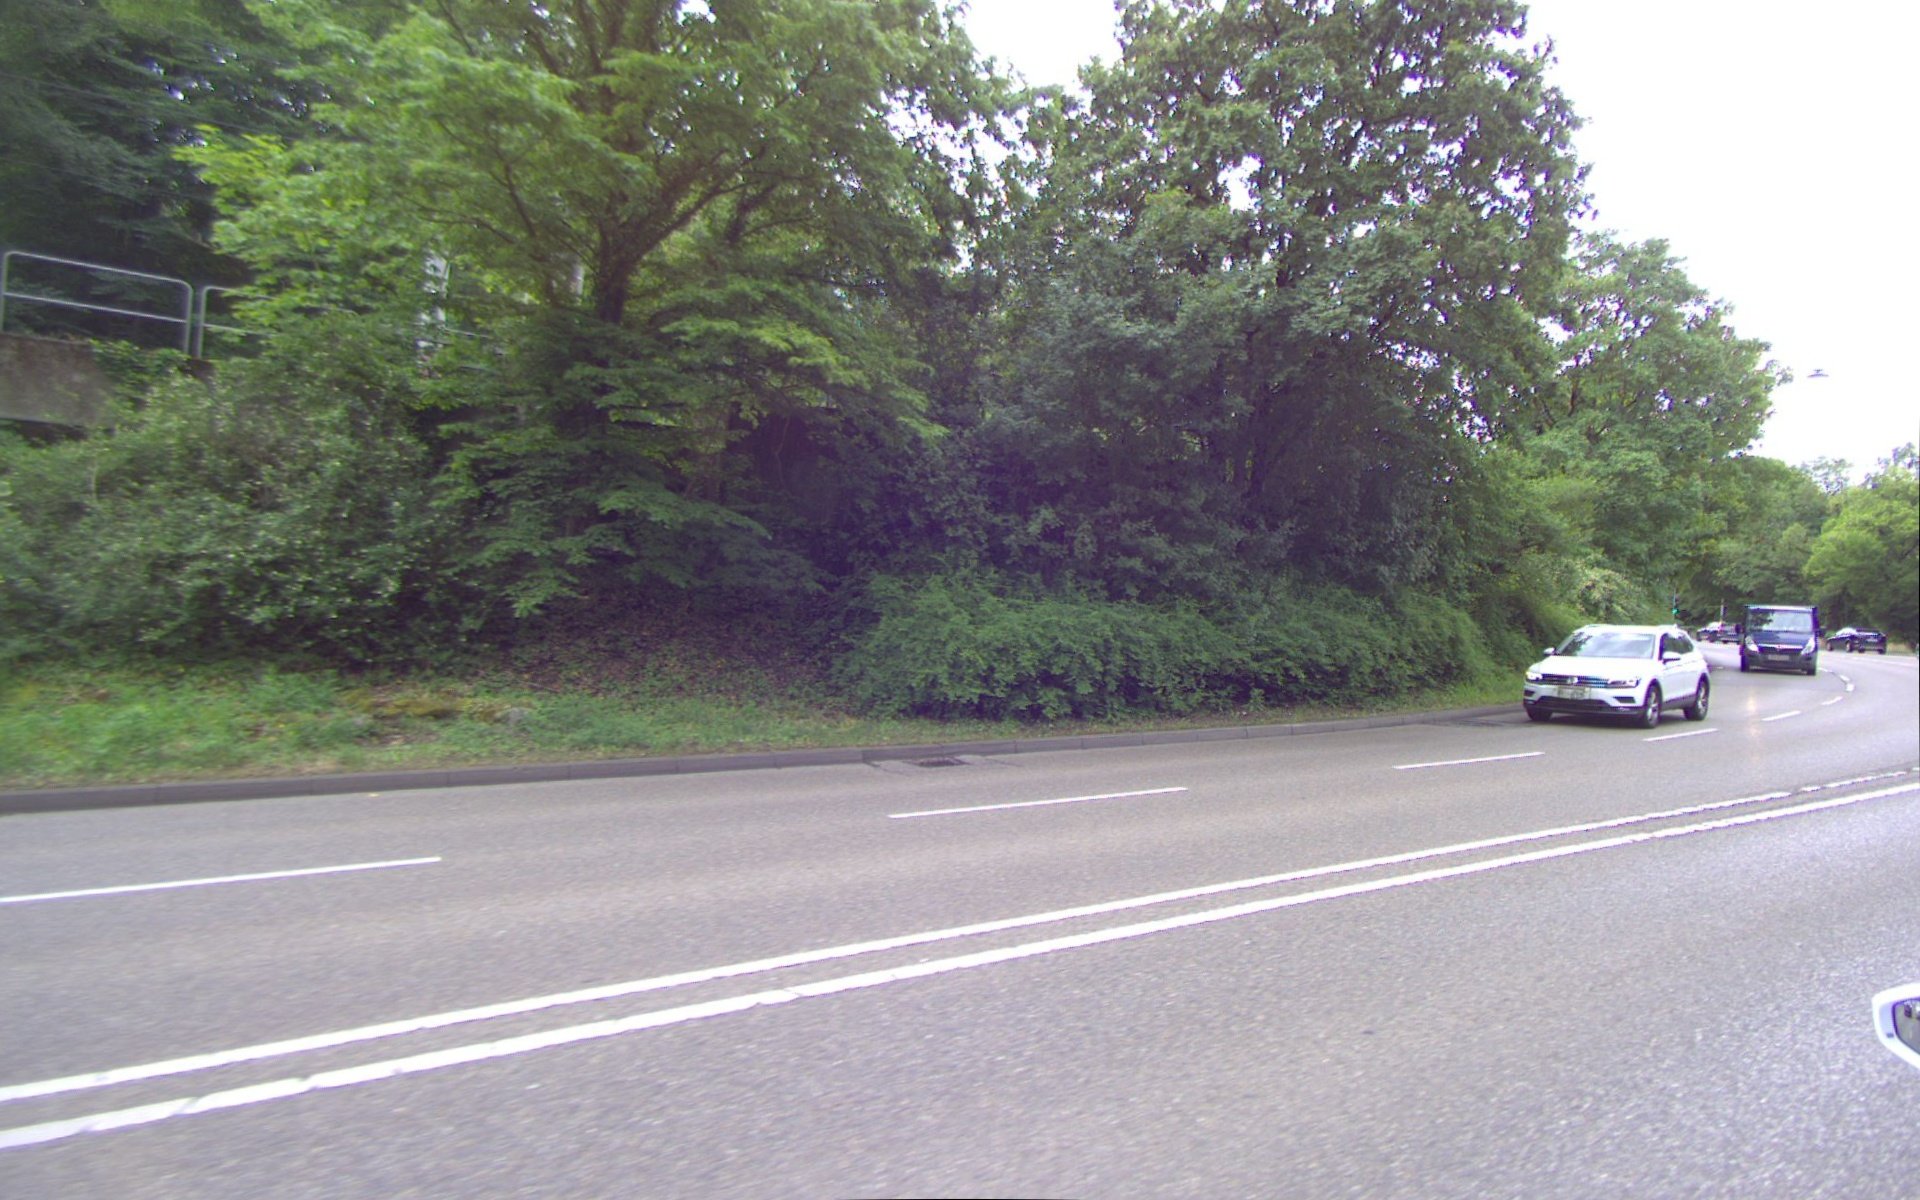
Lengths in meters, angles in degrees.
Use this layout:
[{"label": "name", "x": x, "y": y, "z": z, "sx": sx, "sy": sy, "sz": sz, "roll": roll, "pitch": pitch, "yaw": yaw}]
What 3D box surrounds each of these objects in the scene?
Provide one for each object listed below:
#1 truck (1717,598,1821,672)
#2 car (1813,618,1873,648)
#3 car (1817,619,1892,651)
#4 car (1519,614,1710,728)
[{"label": "truck", "x": 28.926, "y": 1.192, "z": 36.127, "sx": 2.130, "sy": 2.402, "sz": 6.661, "roll": 1, "pitch": -1, "yaw": 32}, {"label": "car", "x": 54.014, "y": 1.977, "z": 61.525, "sx": 1.739, "sy": 1.628, "sz": 3.995, "roll": 4, "pitch": 2, "yaw": 27}, {"label": "car", "x": 51.232, "y": 2.020, "z": 57.522, "sx": 3.953, "sy": 1.589, "sz": 1.984, "roll": 2, "pitch": 2, "yaw": -30}, {"label": "car", "x": 11.452, "y": 1.193, "z": 17.458, "sx": 4.407, "sy": 1.717, "sz": 1.838, "roll": 3, "pitch": -4, "yaw": -44}]
